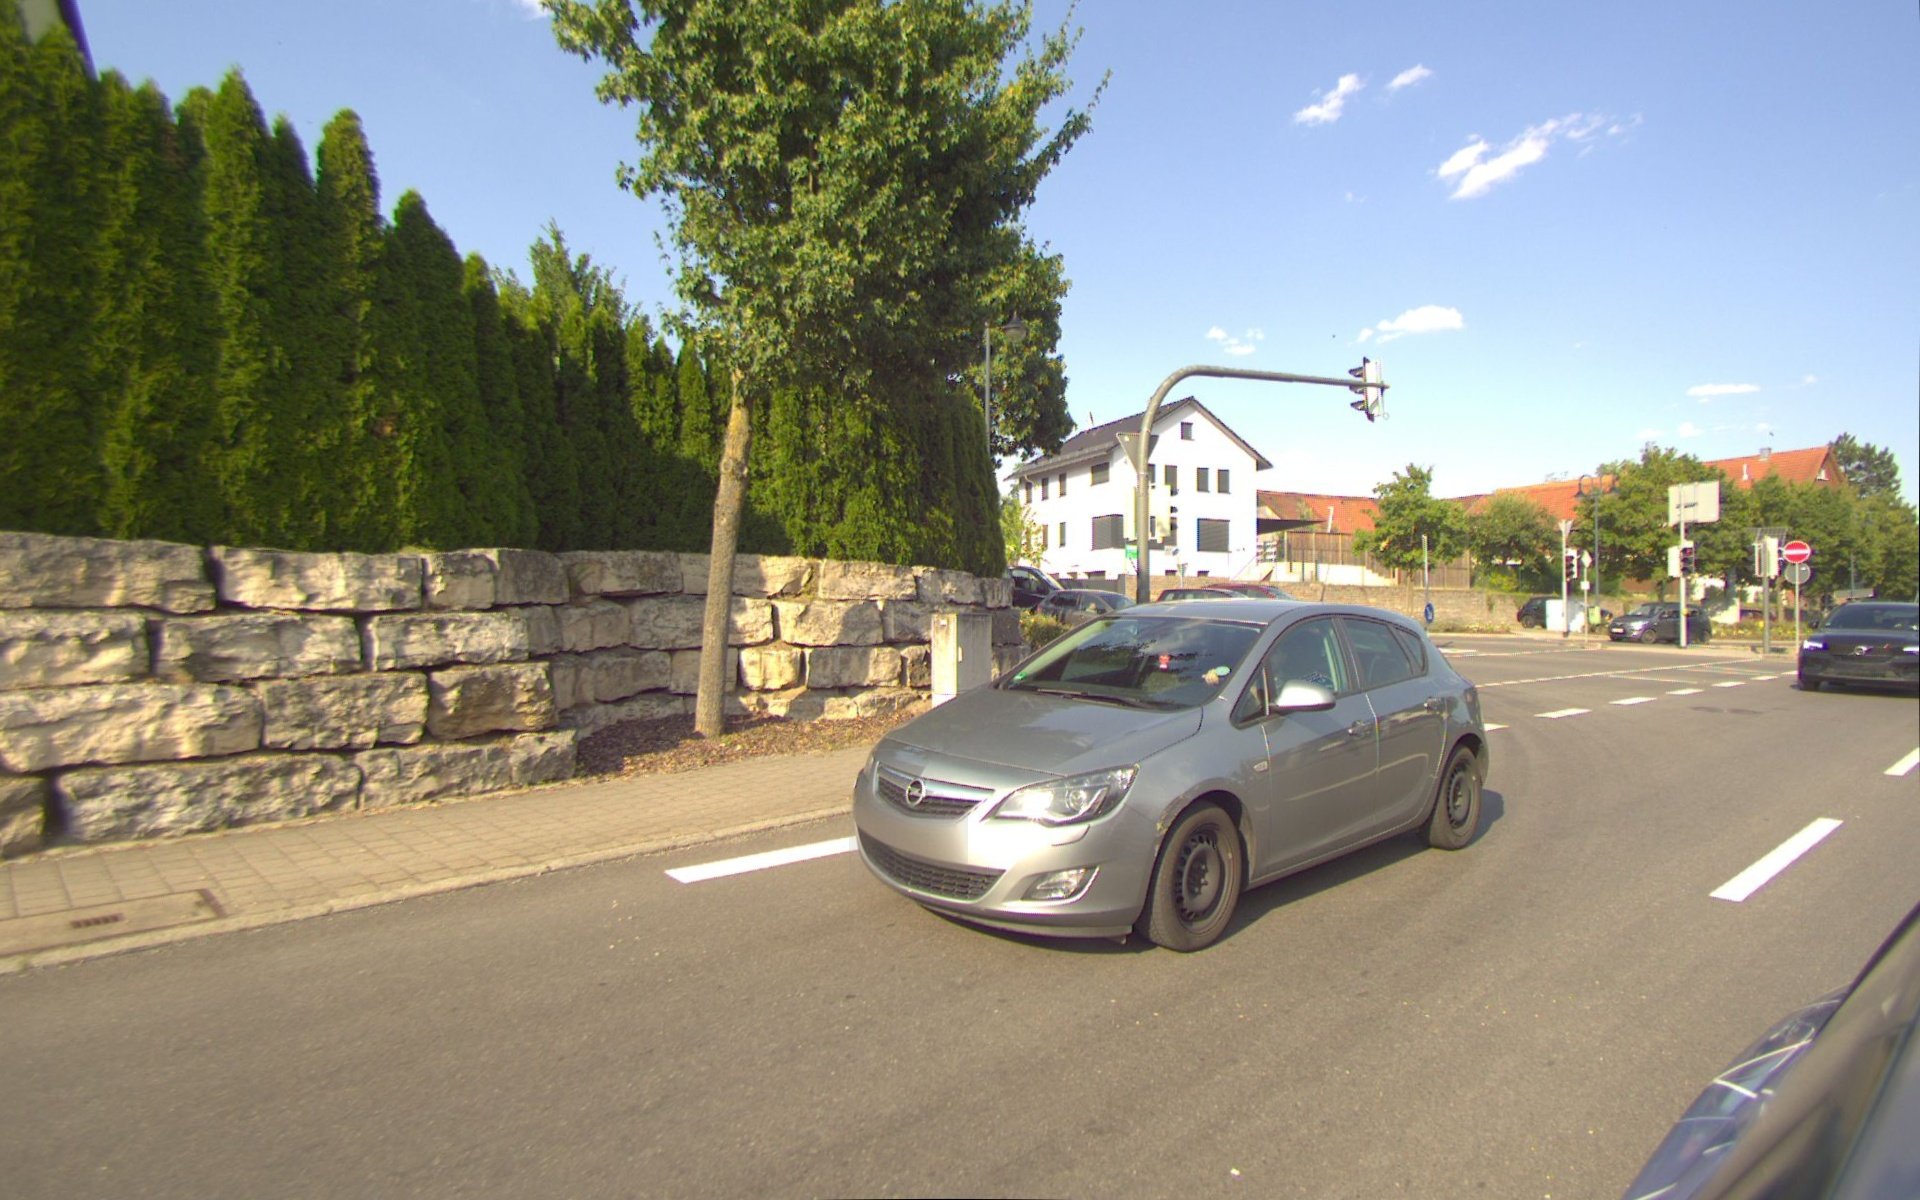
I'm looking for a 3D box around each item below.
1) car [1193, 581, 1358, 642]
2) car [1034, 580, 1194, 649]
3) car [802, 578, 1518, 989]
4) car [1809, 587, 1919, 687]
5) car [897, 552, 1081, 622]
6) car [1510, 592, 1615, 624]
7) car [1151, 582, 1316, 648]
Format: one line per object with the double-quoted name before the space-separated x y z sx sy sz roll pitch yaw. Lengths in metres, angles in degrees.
"car" 9.122 0.287 29.496 4.240 1.646 1.832 1 0 44
"car" 3.686 0.293 24.615 1.600 1.467 3.602 0 2 -44
"car" 1.329 0.639 5.511 4.070 1.440 1.651 0 1 -40
"car" 16.817 0.631 18.179 3.985 1.626 1.791 1 0 -41
"car" 0.877 -0.394 29.955 5.106 1.956 1.990 1 0 16
"car" 28.987 0.361 48.811 1.644 1.475 4.085 1 0 -28
"car" 6.989 0.337 26.037 3.779 1.561 1.576 1 0 38
